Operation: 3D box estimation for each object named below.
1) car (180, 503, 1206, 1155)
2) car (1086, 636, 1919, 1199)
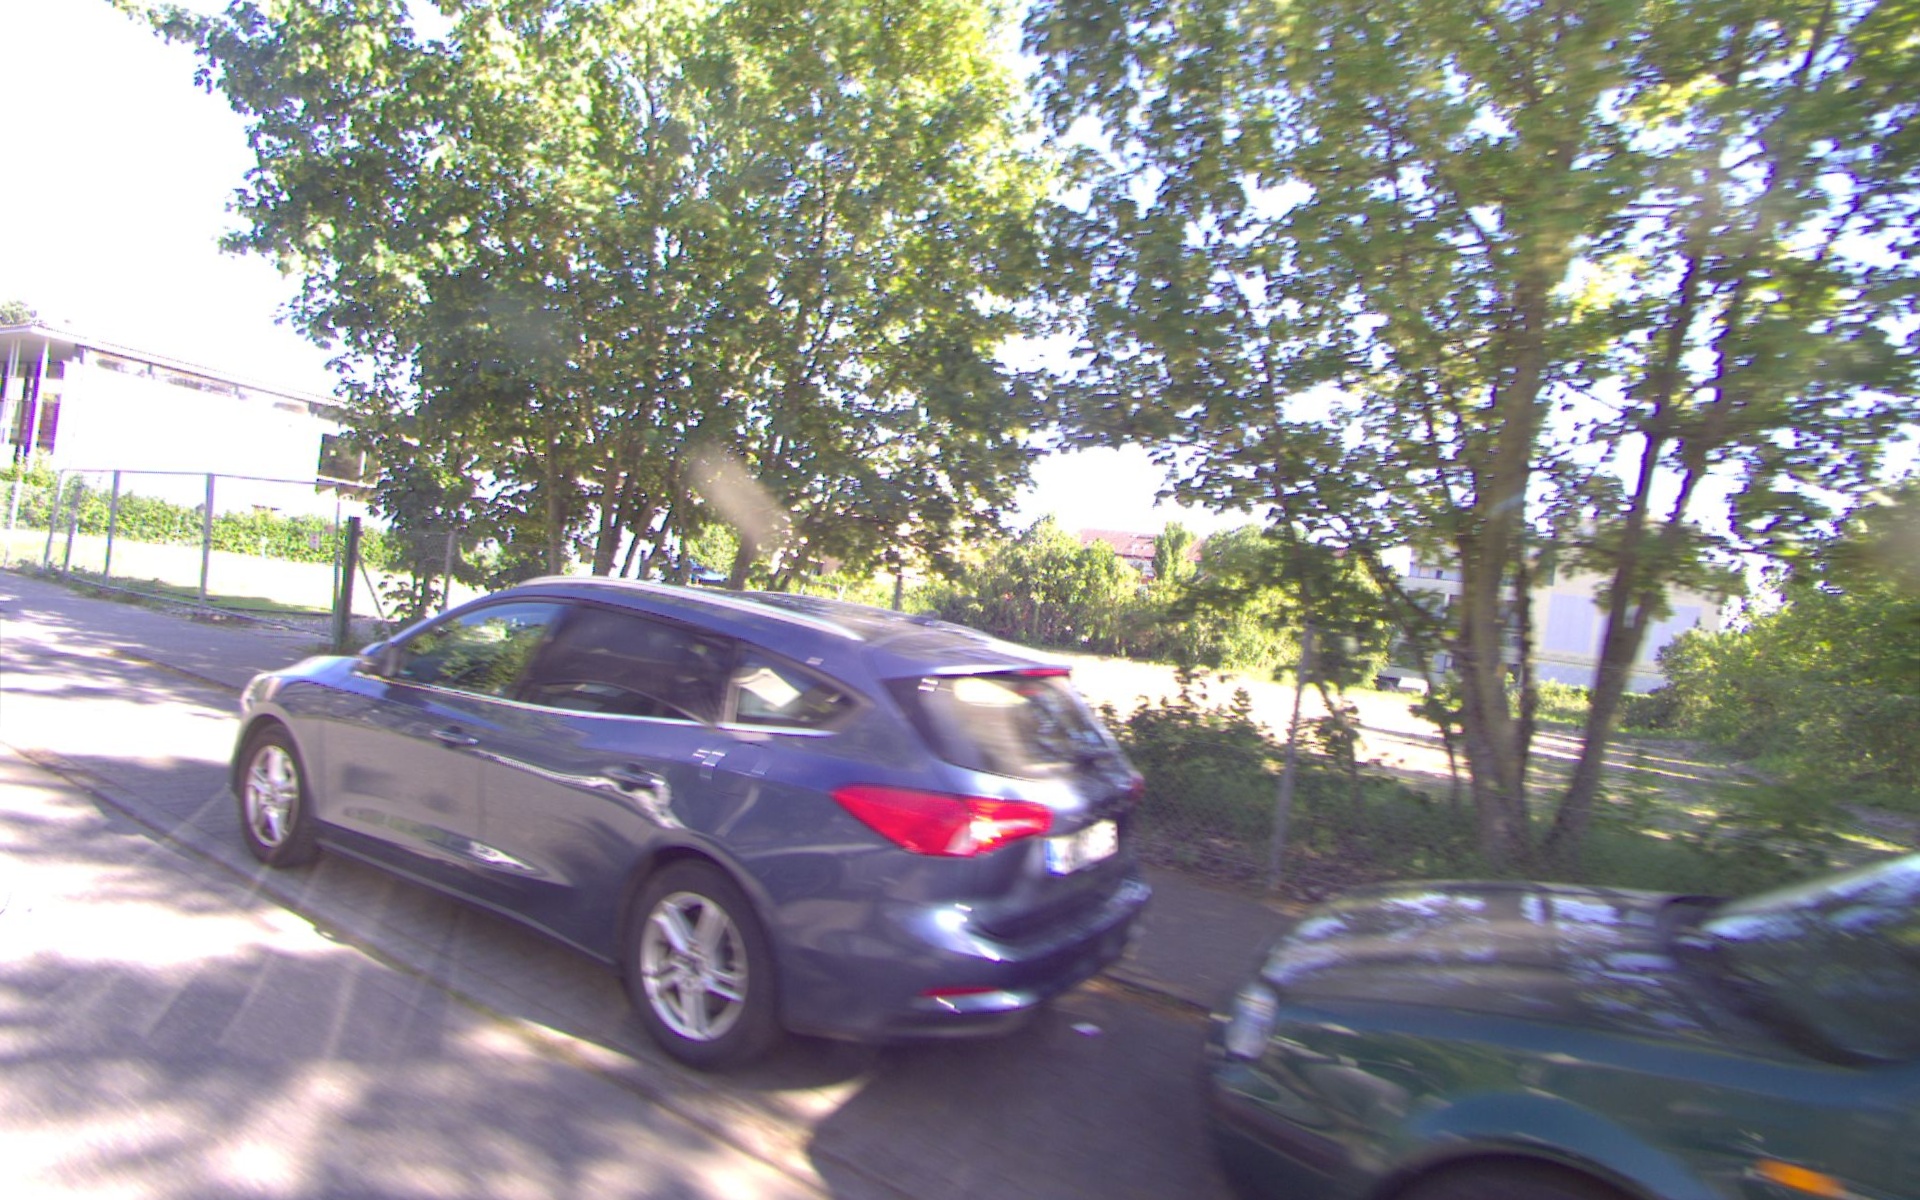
[{"bbox_3d":[-1.382,0.550,4.421,4.365,1.455,1.679,7,-1,31],"label":"car"},{"bbox_3d":[2.504,1.095,1.987,4.002,1.489,1.827,7,-1,33],"label":"car"}]
